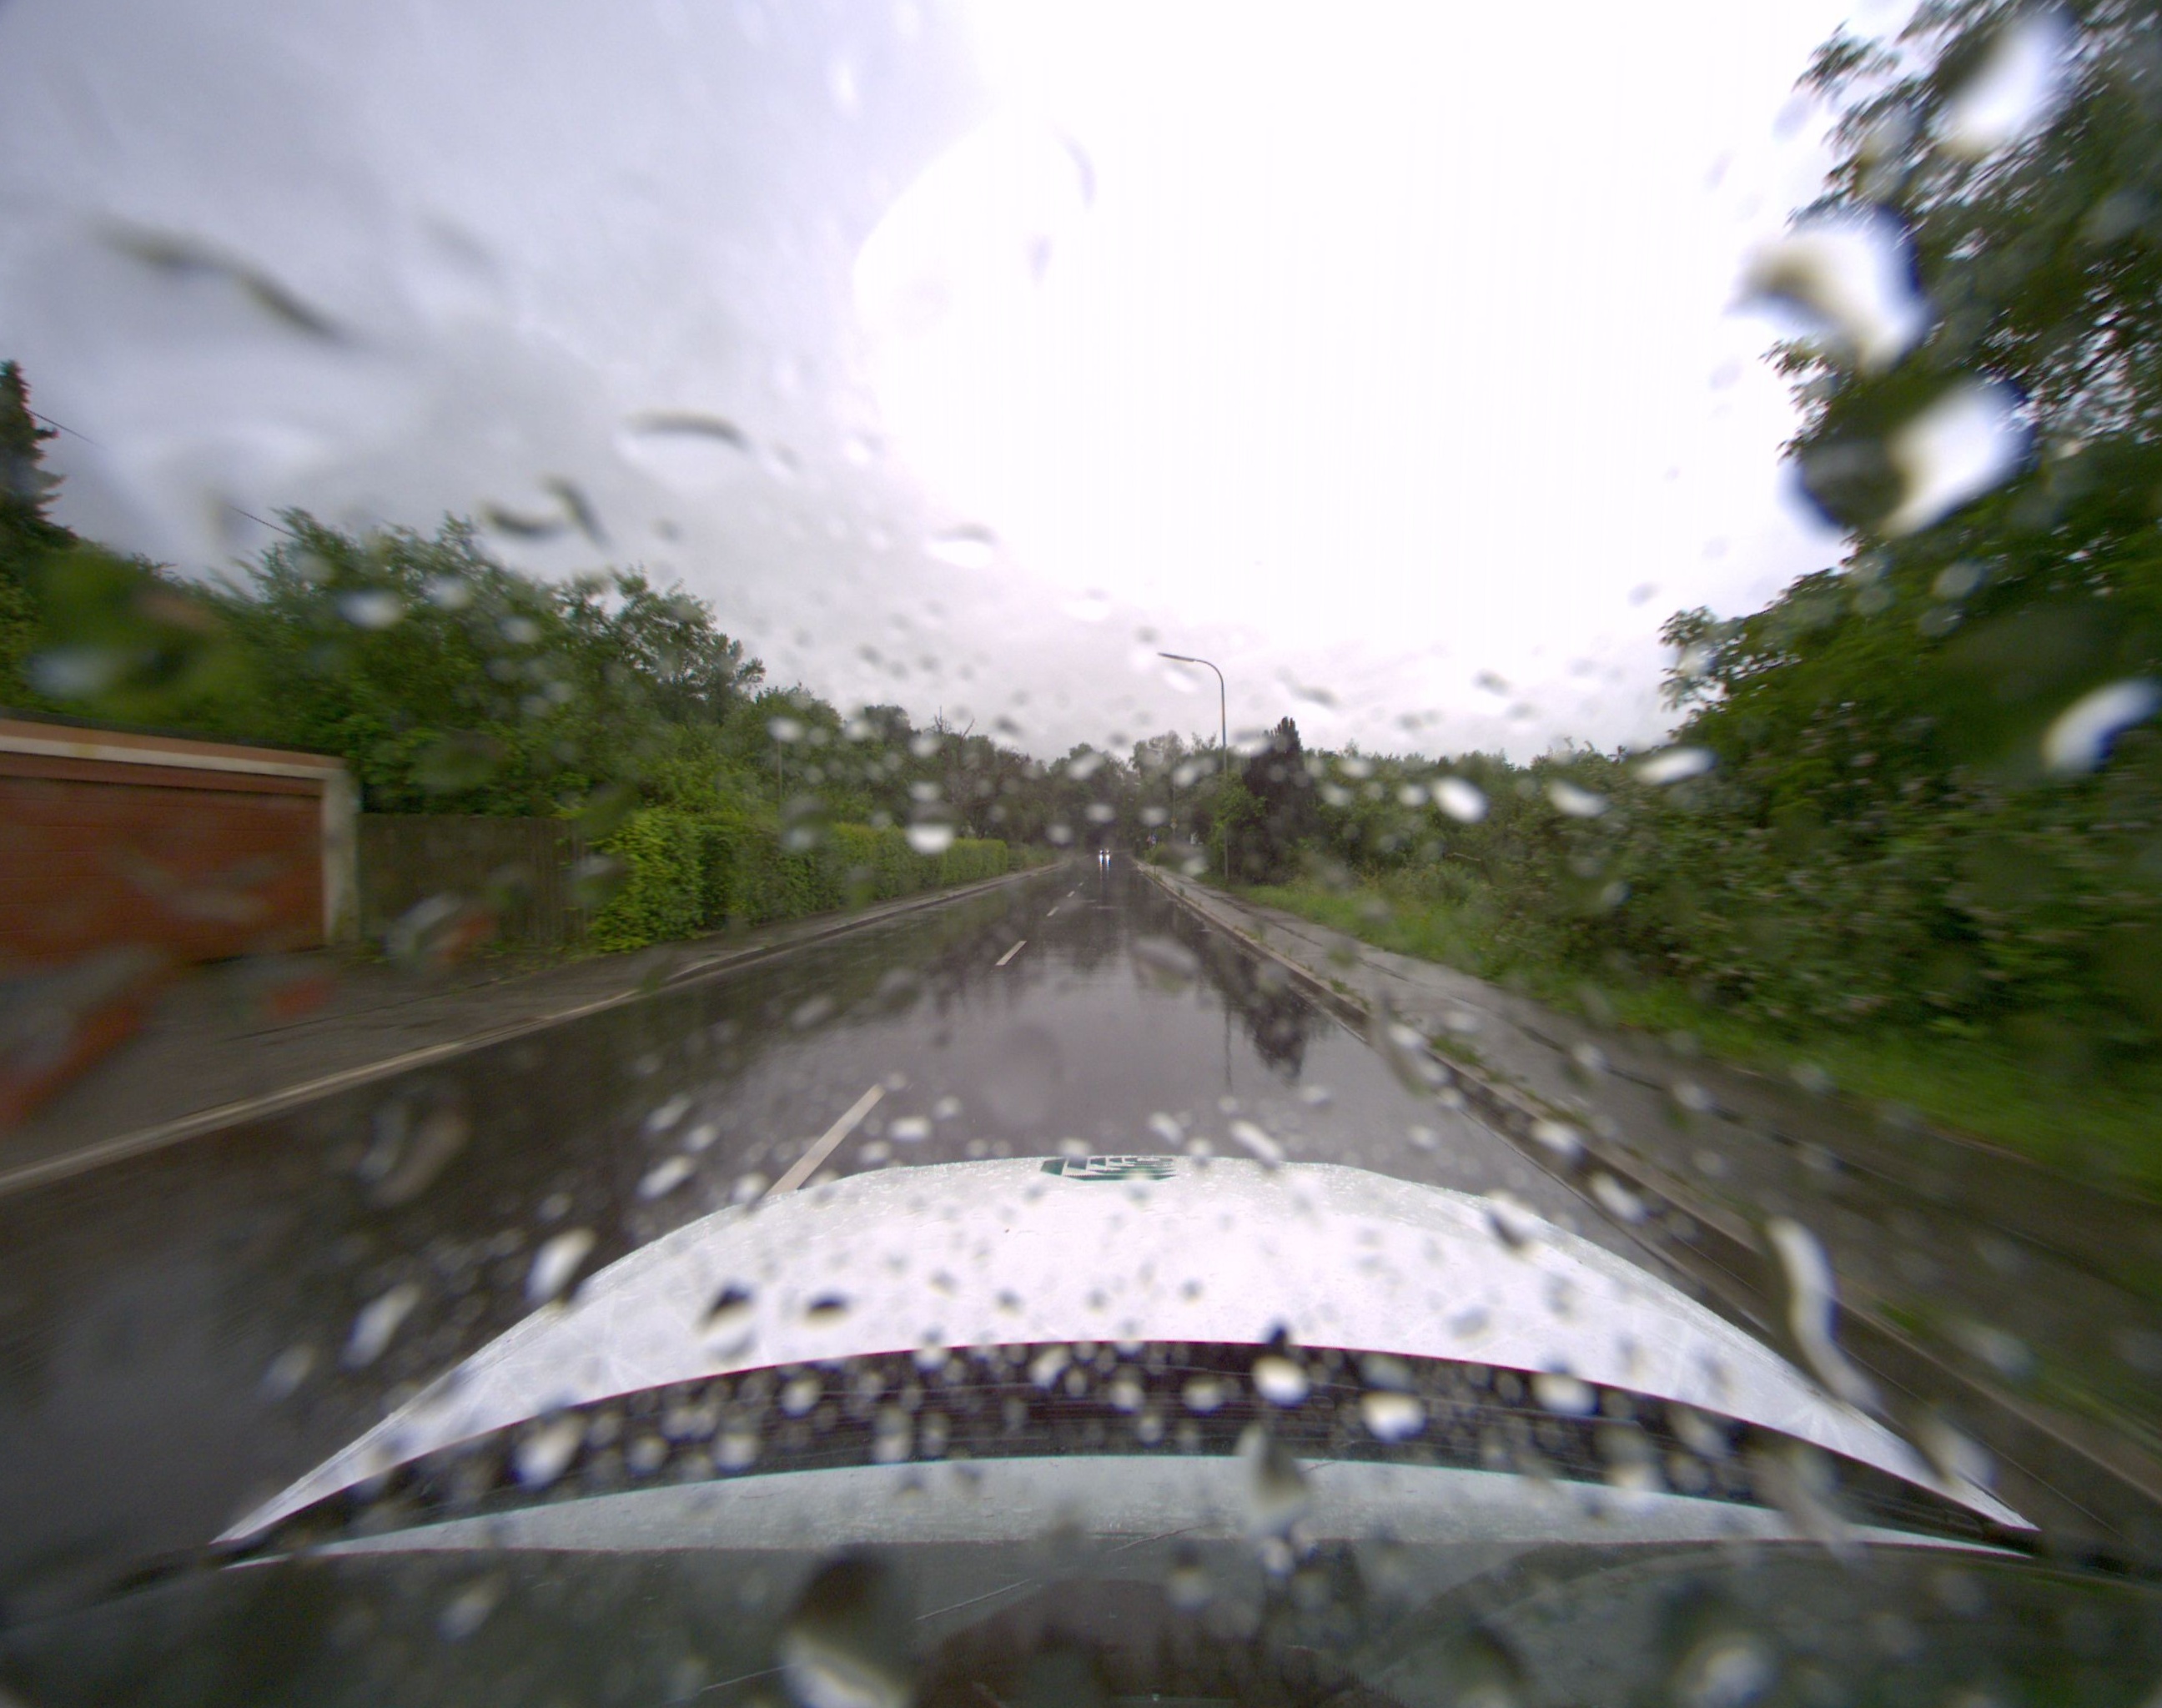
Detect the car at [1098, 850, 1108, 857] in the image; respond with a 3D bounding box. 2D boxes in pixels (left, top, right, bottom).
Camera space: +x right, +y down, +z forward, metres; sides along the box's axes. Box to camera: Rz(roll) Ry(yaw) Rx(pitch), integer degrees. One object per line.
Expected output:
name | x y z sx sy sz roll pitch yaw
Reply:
car | 4.695 -0.167 171.513 1.985 1.454 4.431 0 1 2
